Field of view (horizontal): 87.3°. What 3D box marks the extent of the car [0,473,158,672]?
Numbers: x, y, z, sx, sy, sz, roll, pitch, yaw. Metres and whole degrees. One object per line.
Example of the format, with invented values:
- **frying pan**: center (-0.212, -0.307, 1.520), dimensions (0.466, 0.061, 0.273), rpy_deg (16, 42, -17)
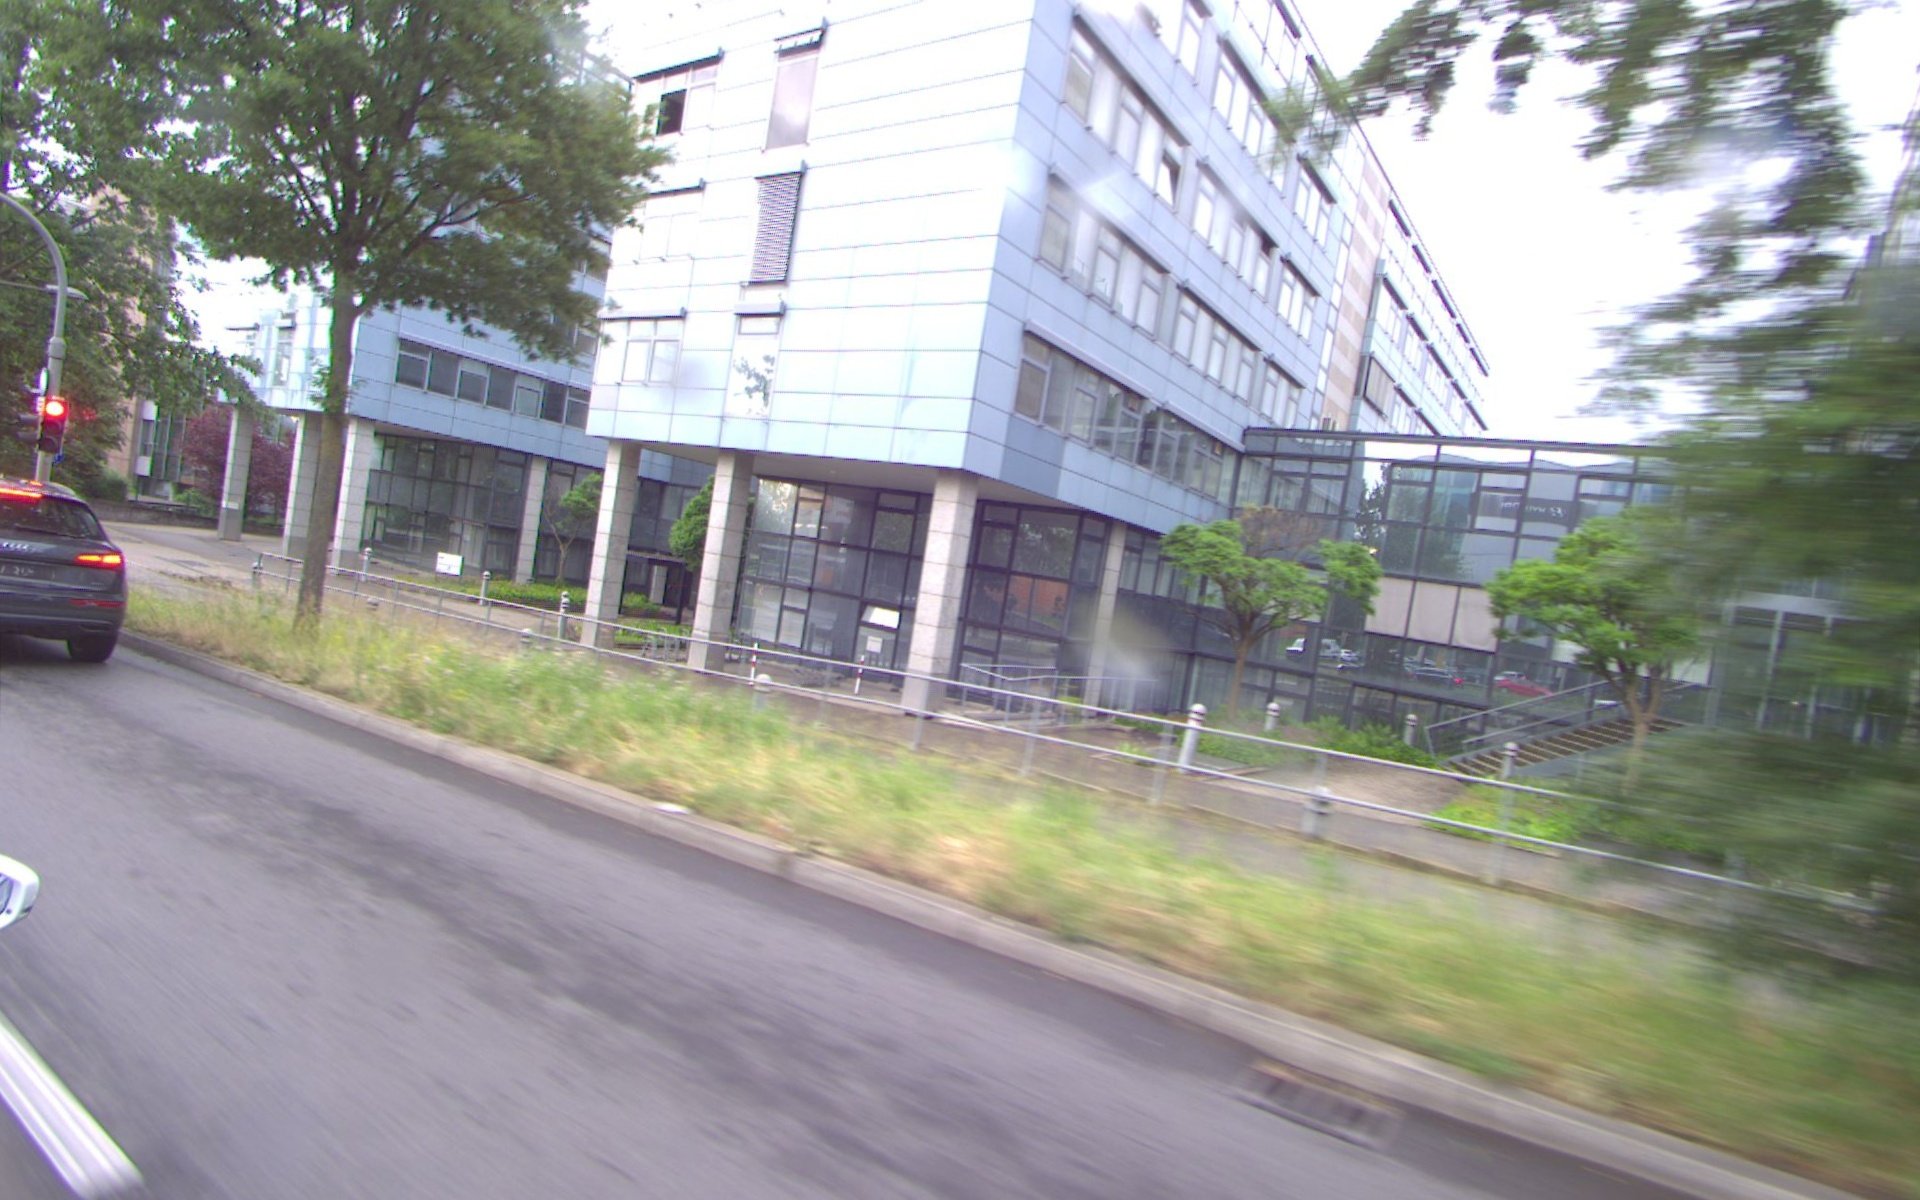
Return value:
- **car**: center (-9.807, -0.446, 9.746), dimensions (4.398, 1.632, 1.820), rpy_deg (7, -1, 34)
